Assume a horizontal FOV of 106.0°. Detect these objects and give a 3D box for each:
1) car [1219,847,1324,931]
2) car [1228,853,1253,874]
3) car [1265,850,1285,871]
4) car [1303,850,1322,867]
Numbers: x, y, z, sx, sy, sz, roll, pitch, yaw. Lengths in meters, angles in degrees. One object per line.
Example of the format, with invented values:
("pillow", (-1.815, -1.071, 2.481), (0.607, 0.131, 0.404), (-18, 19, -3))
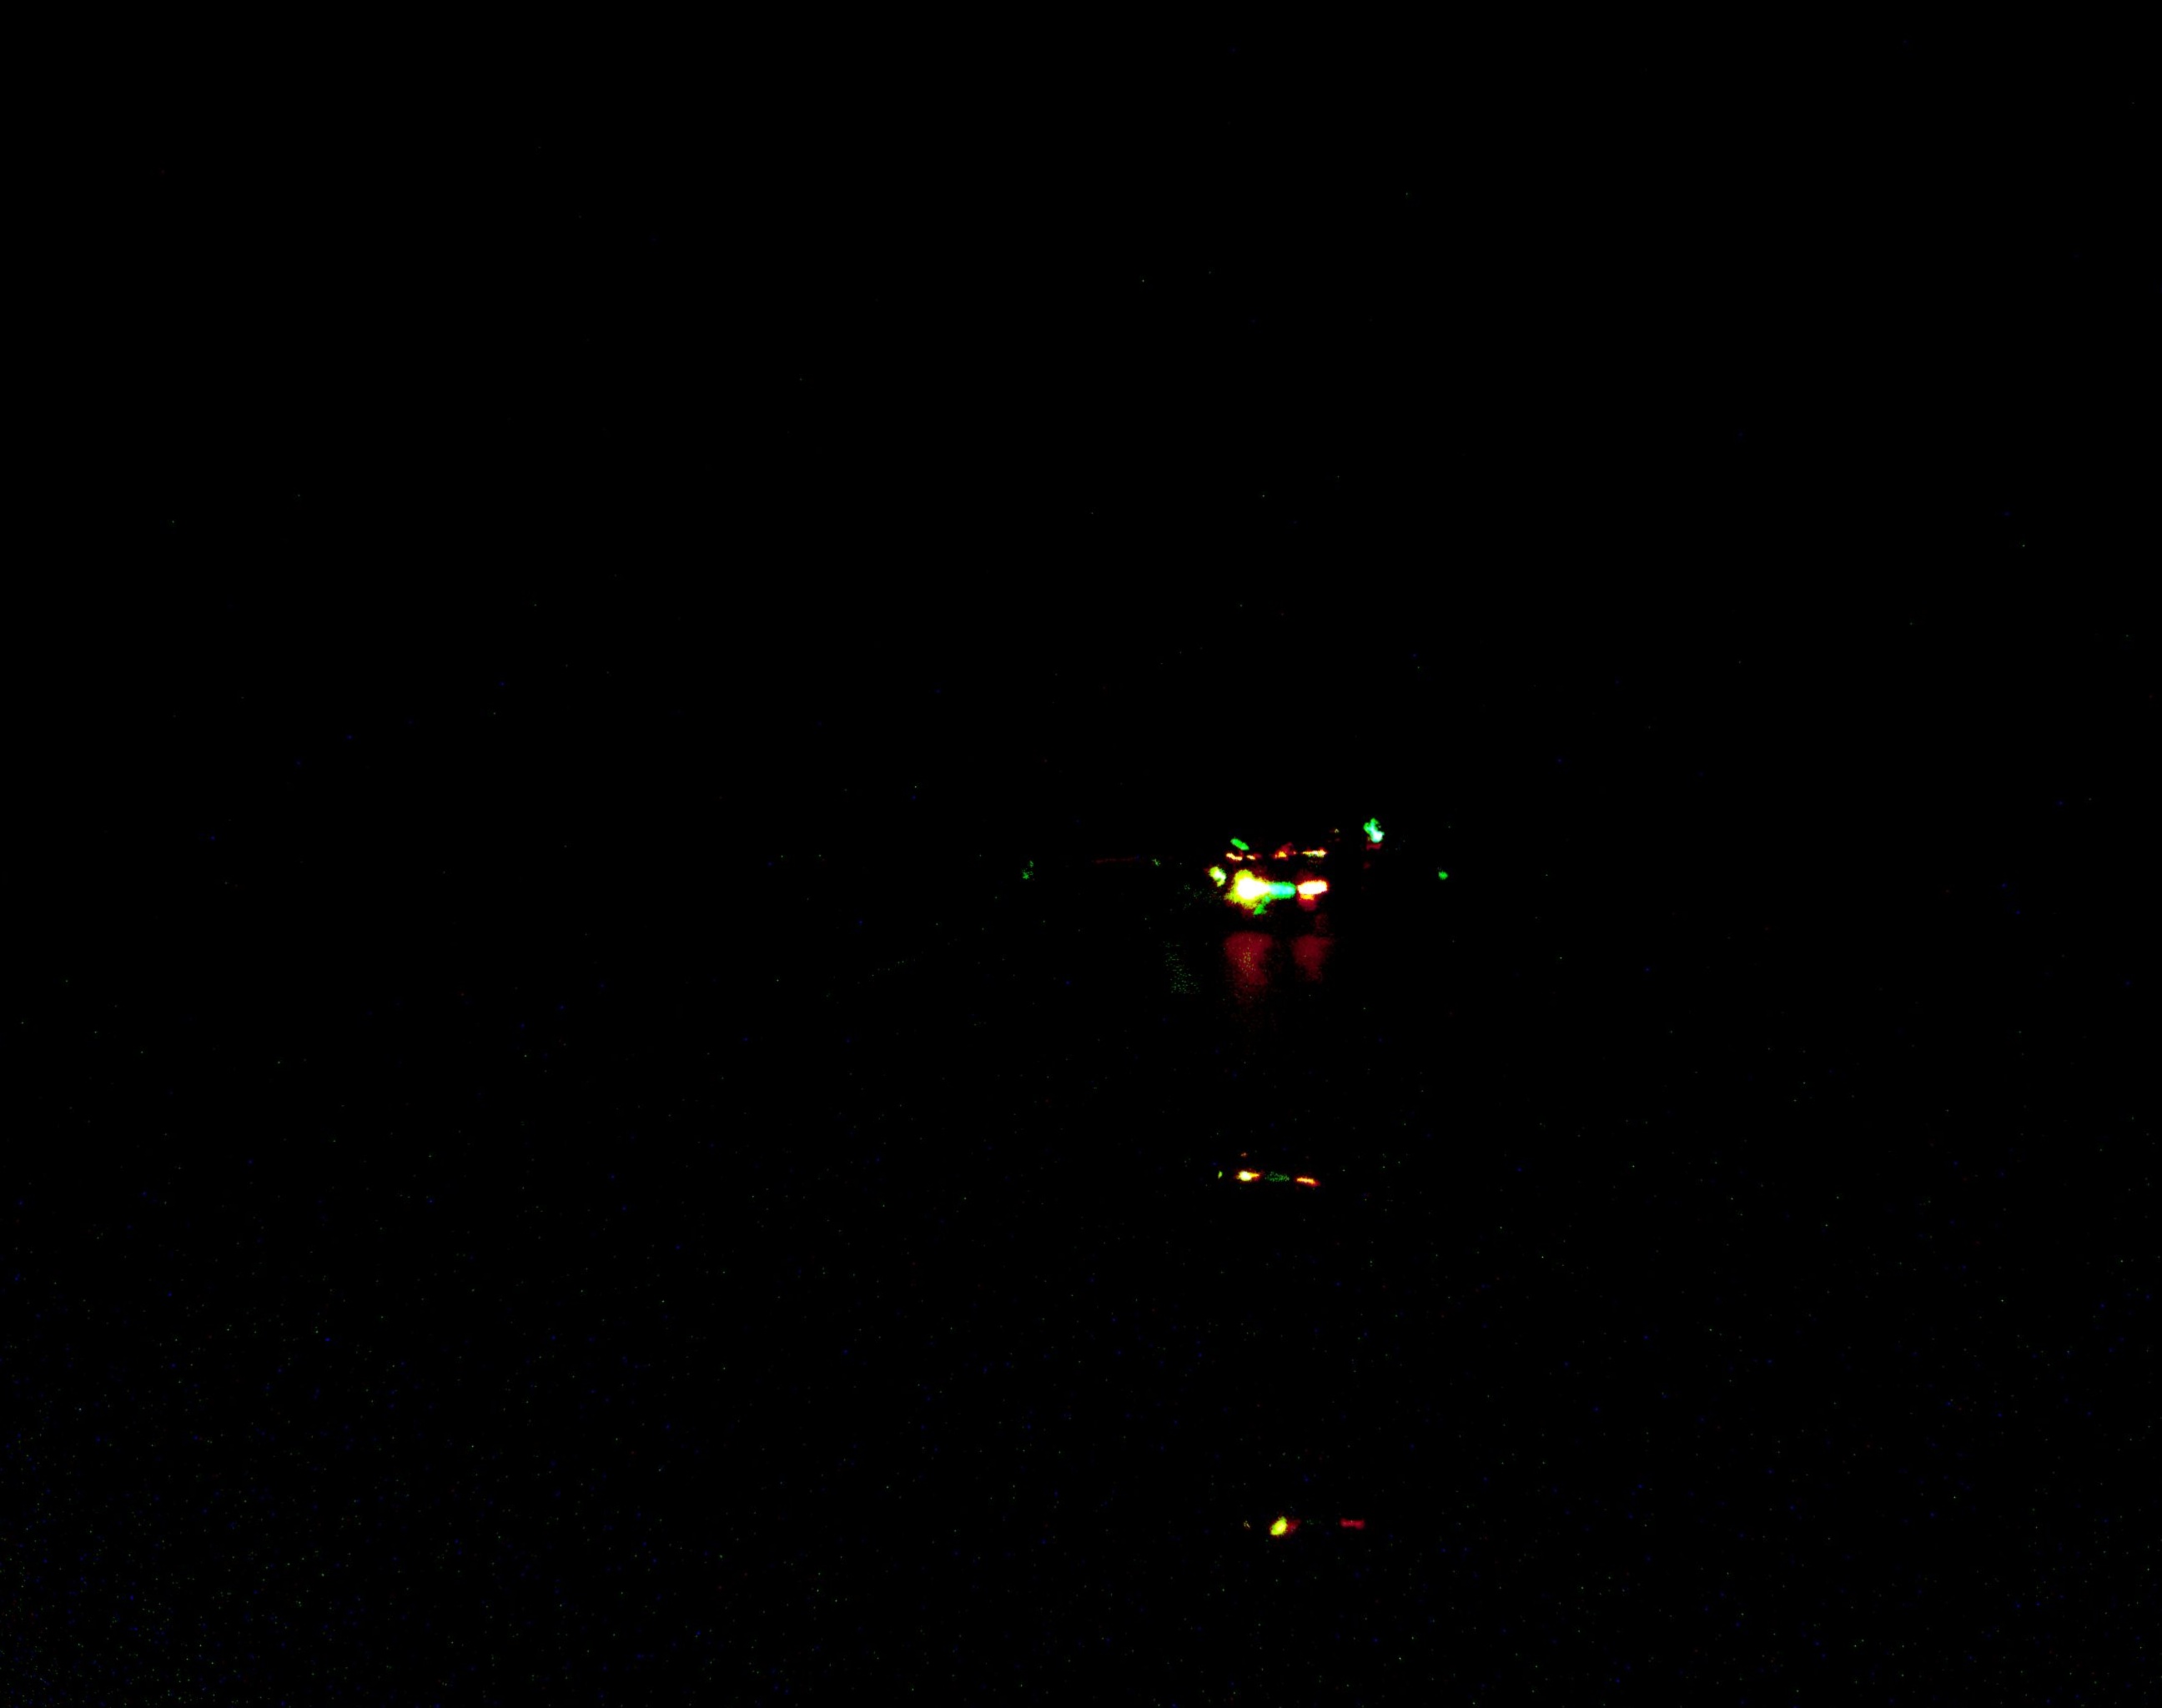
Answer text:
("car", (4.142, 0.692, 18.299), (1.850, 1.647, 4.077), (1, 0, 7))
("car", (13.519, 0.817, 68.981), (1.882, 1.720, 4.060), (-1, -1, 13))
("car", (19.931, 0.674, 83.509), (1.881, 2.040, 4.061), (-1, -1, 15))
("car", (29.190, 0.533, 102.642), (1.879, 1.998, 4.065), (-1, -1, 20))
